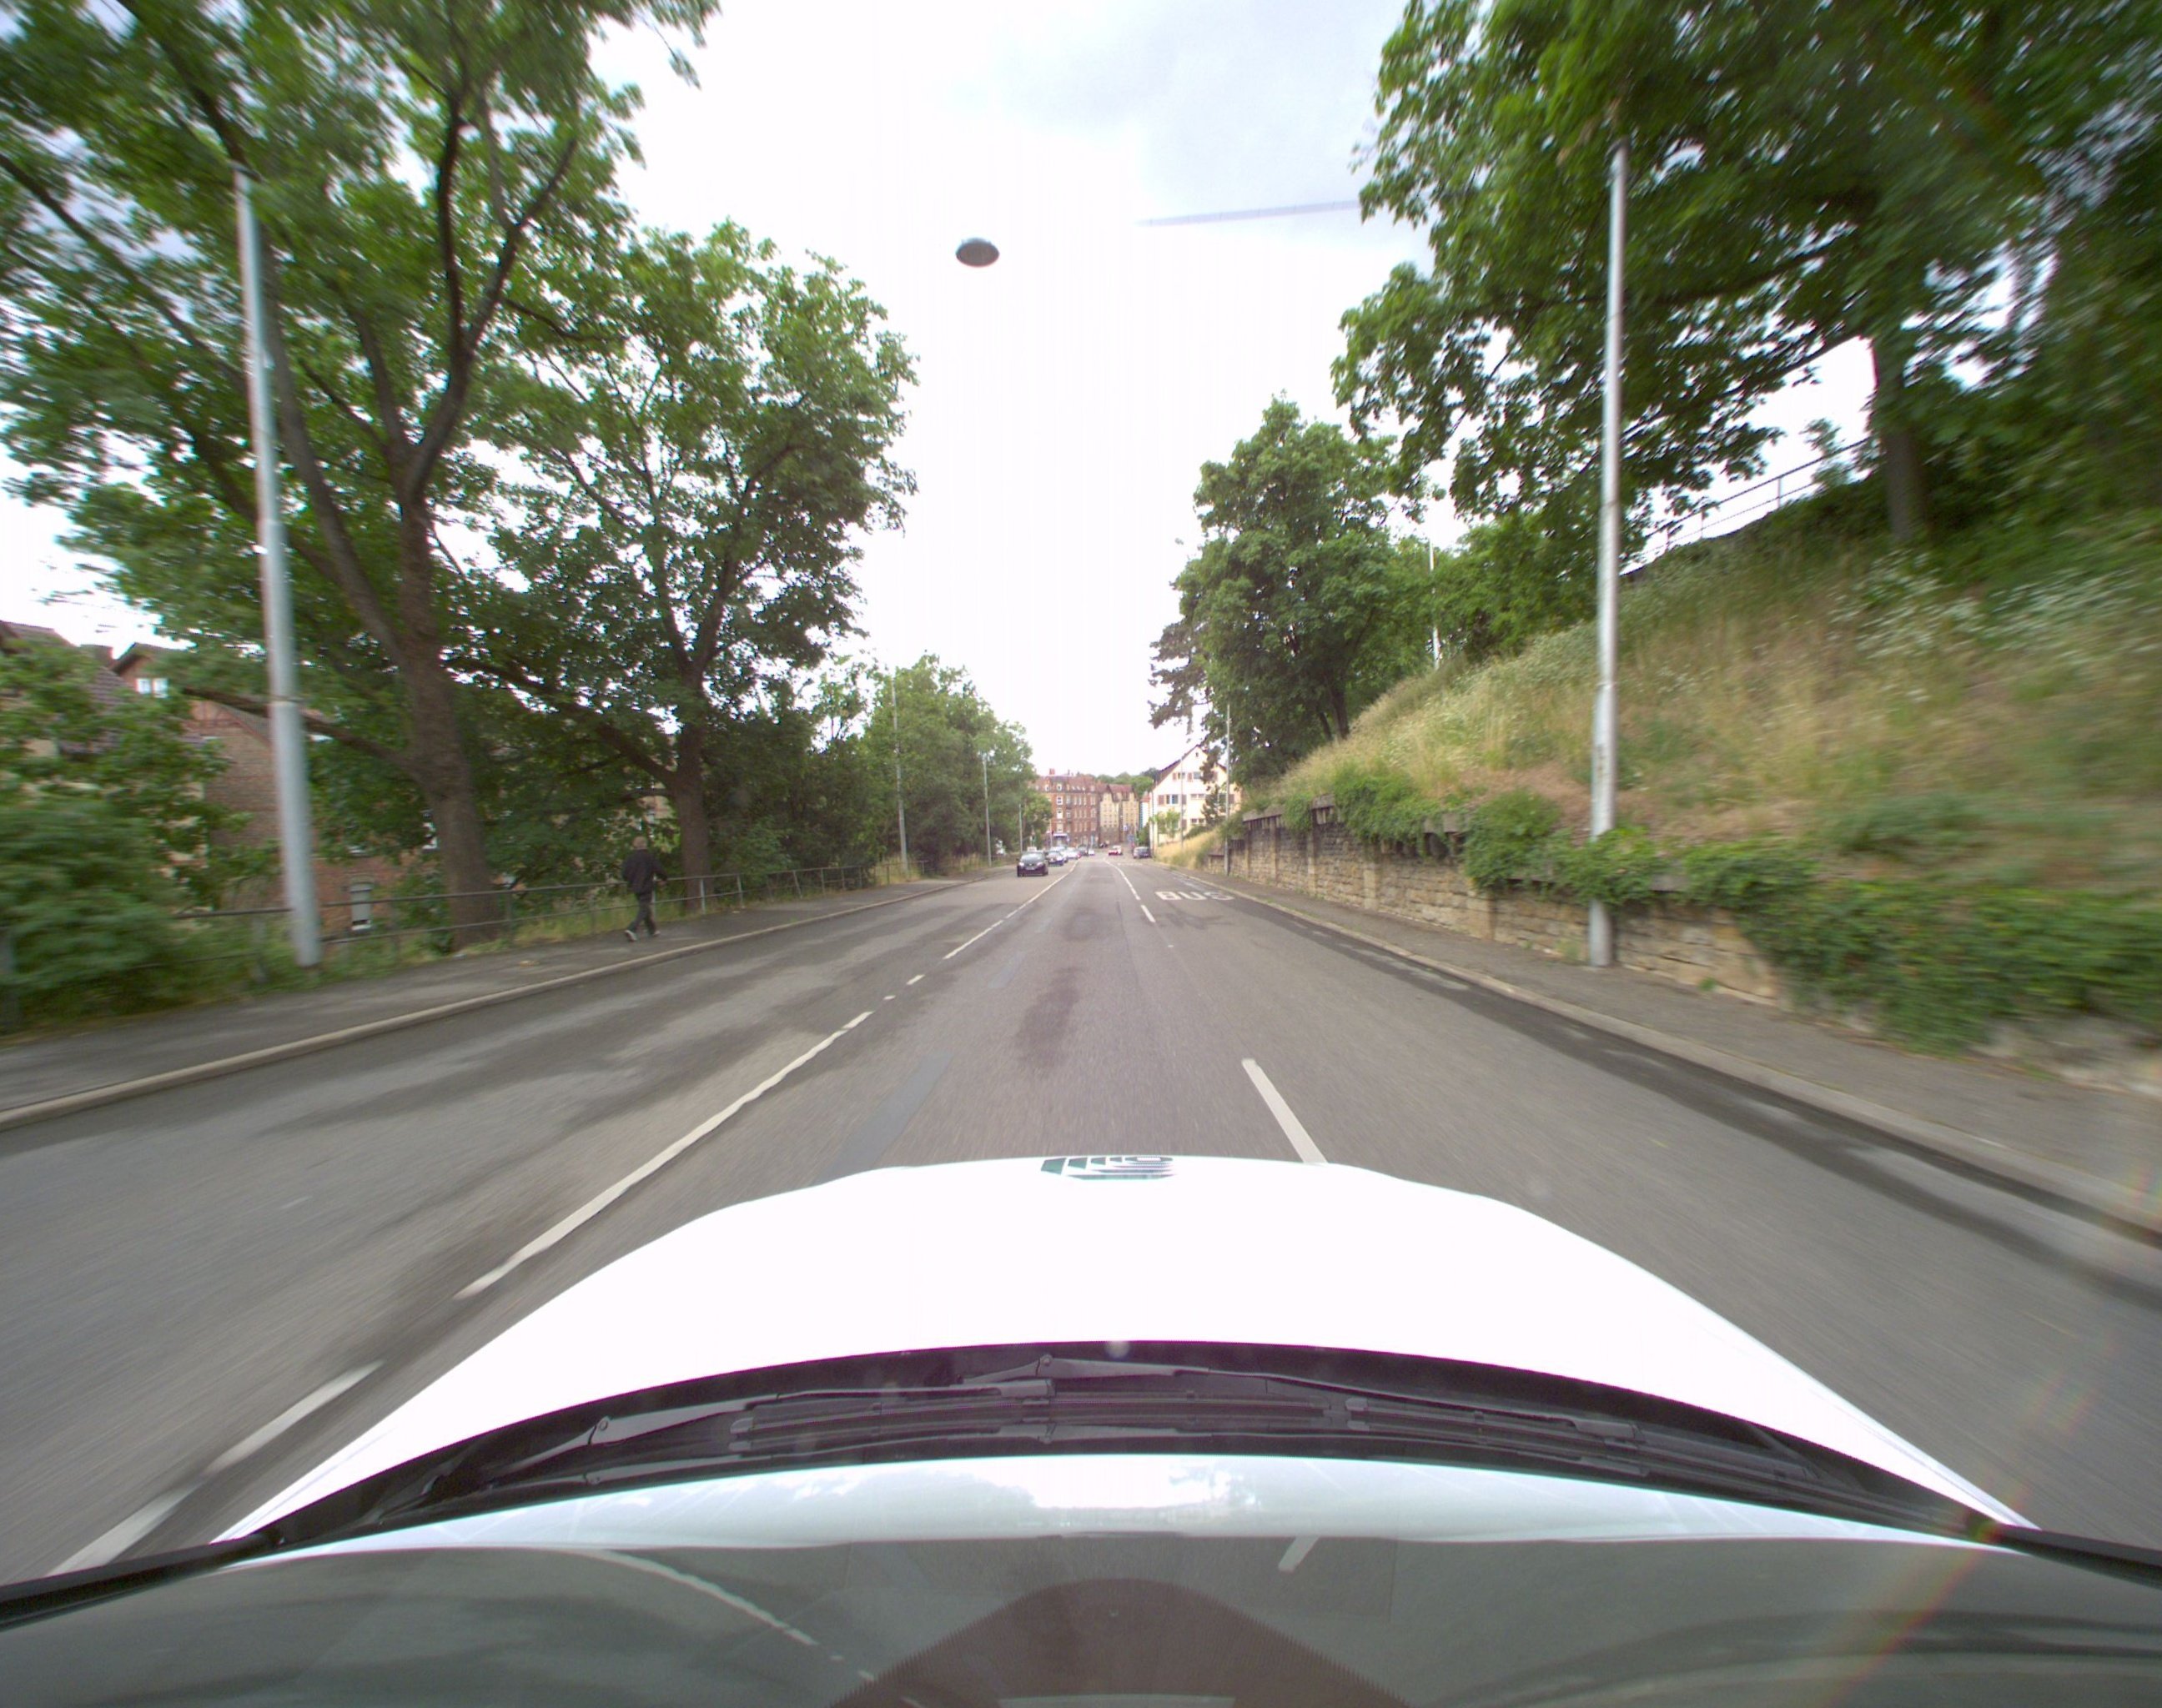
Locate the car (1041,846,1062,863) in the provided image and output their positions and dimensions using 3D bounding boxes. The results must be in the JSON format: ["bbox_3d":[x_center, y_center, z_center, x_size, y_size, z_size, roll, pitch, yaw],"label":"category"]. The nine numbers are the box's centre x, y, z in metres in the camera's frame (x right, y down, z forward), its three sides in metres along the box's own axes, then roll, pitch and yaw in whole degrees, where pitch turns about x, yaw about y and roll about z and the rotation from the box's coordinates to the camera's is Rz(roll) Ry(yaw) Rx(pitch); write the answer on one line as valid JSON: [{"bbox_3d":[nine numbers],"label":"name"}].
[{"bbox_3d":[-2.602,0.044,72.717,1.707,1.427,4.139,-2,0,0],"label":"car"}]

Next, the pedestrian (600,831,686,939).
[{"bbox_3d":[-7.569,0.507,14.133,0.786,1.774,1.208,2,0,-1],"label":"pedestrian"}]

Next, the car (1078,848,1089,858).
[{"bbox_3d":[0.437,-0.182,144.687,1.777,1.746,4.430,-2,0,1],"label":"car"}]

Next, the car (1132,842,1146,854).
[{"bbox_3d":[7.931,-0.788,111.258,1.786,1.451,4.725,-4,1,5],"label":"car"}]

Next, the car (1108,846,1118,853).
[{"bbox_3d":[6.452,-0.909,162.877,1.807,1.430,4.007,0,1,6],"label":"car"}]

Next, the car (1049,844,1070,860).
[{"bbox_3d":[-2.354,-0.234,88.555,1.988,1.683,4.665,-2,0,1],"label":"car"}]

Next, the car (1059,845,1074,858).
[{"bbox_3d":[-1.928,-0.329,108.500,1.778,1.574,4.281,-2,0,1],"label":"car"}]

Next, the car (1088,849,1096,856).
[{"bbox_3d":[2.444,-0.248,178.231,1.714,1.444,4.159,-2,0,1],"label":"car"}]

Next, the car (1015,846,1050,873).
[{"bbox_3d":[-2.782,0.308,47.389,1.662,1.447,3.690,-2,0,2],"label":"car"}]

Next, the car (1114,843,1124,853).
[{"bbox_3d":[7.863,-1.254,169.439,1.900,1.884,4.006,0,0,6],"label":"car"}]

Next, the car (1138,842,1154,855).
[{"bbox_3d":[8.100,-0.656,102.326,1.675,1.451,4.001,-5,0,1],"label":"car"}]

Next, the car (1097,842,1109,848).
[{"bbox_3d":[5.839,-2.394,216.732,1.965,1.574,4.398,-3,0,21],"label":"car"}]

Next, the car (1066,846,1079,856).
[{"bbox_3d":[-1.322,-0.430,124.259,1.778,1.459,4.429,-2,0,1],"label":"car"}]
